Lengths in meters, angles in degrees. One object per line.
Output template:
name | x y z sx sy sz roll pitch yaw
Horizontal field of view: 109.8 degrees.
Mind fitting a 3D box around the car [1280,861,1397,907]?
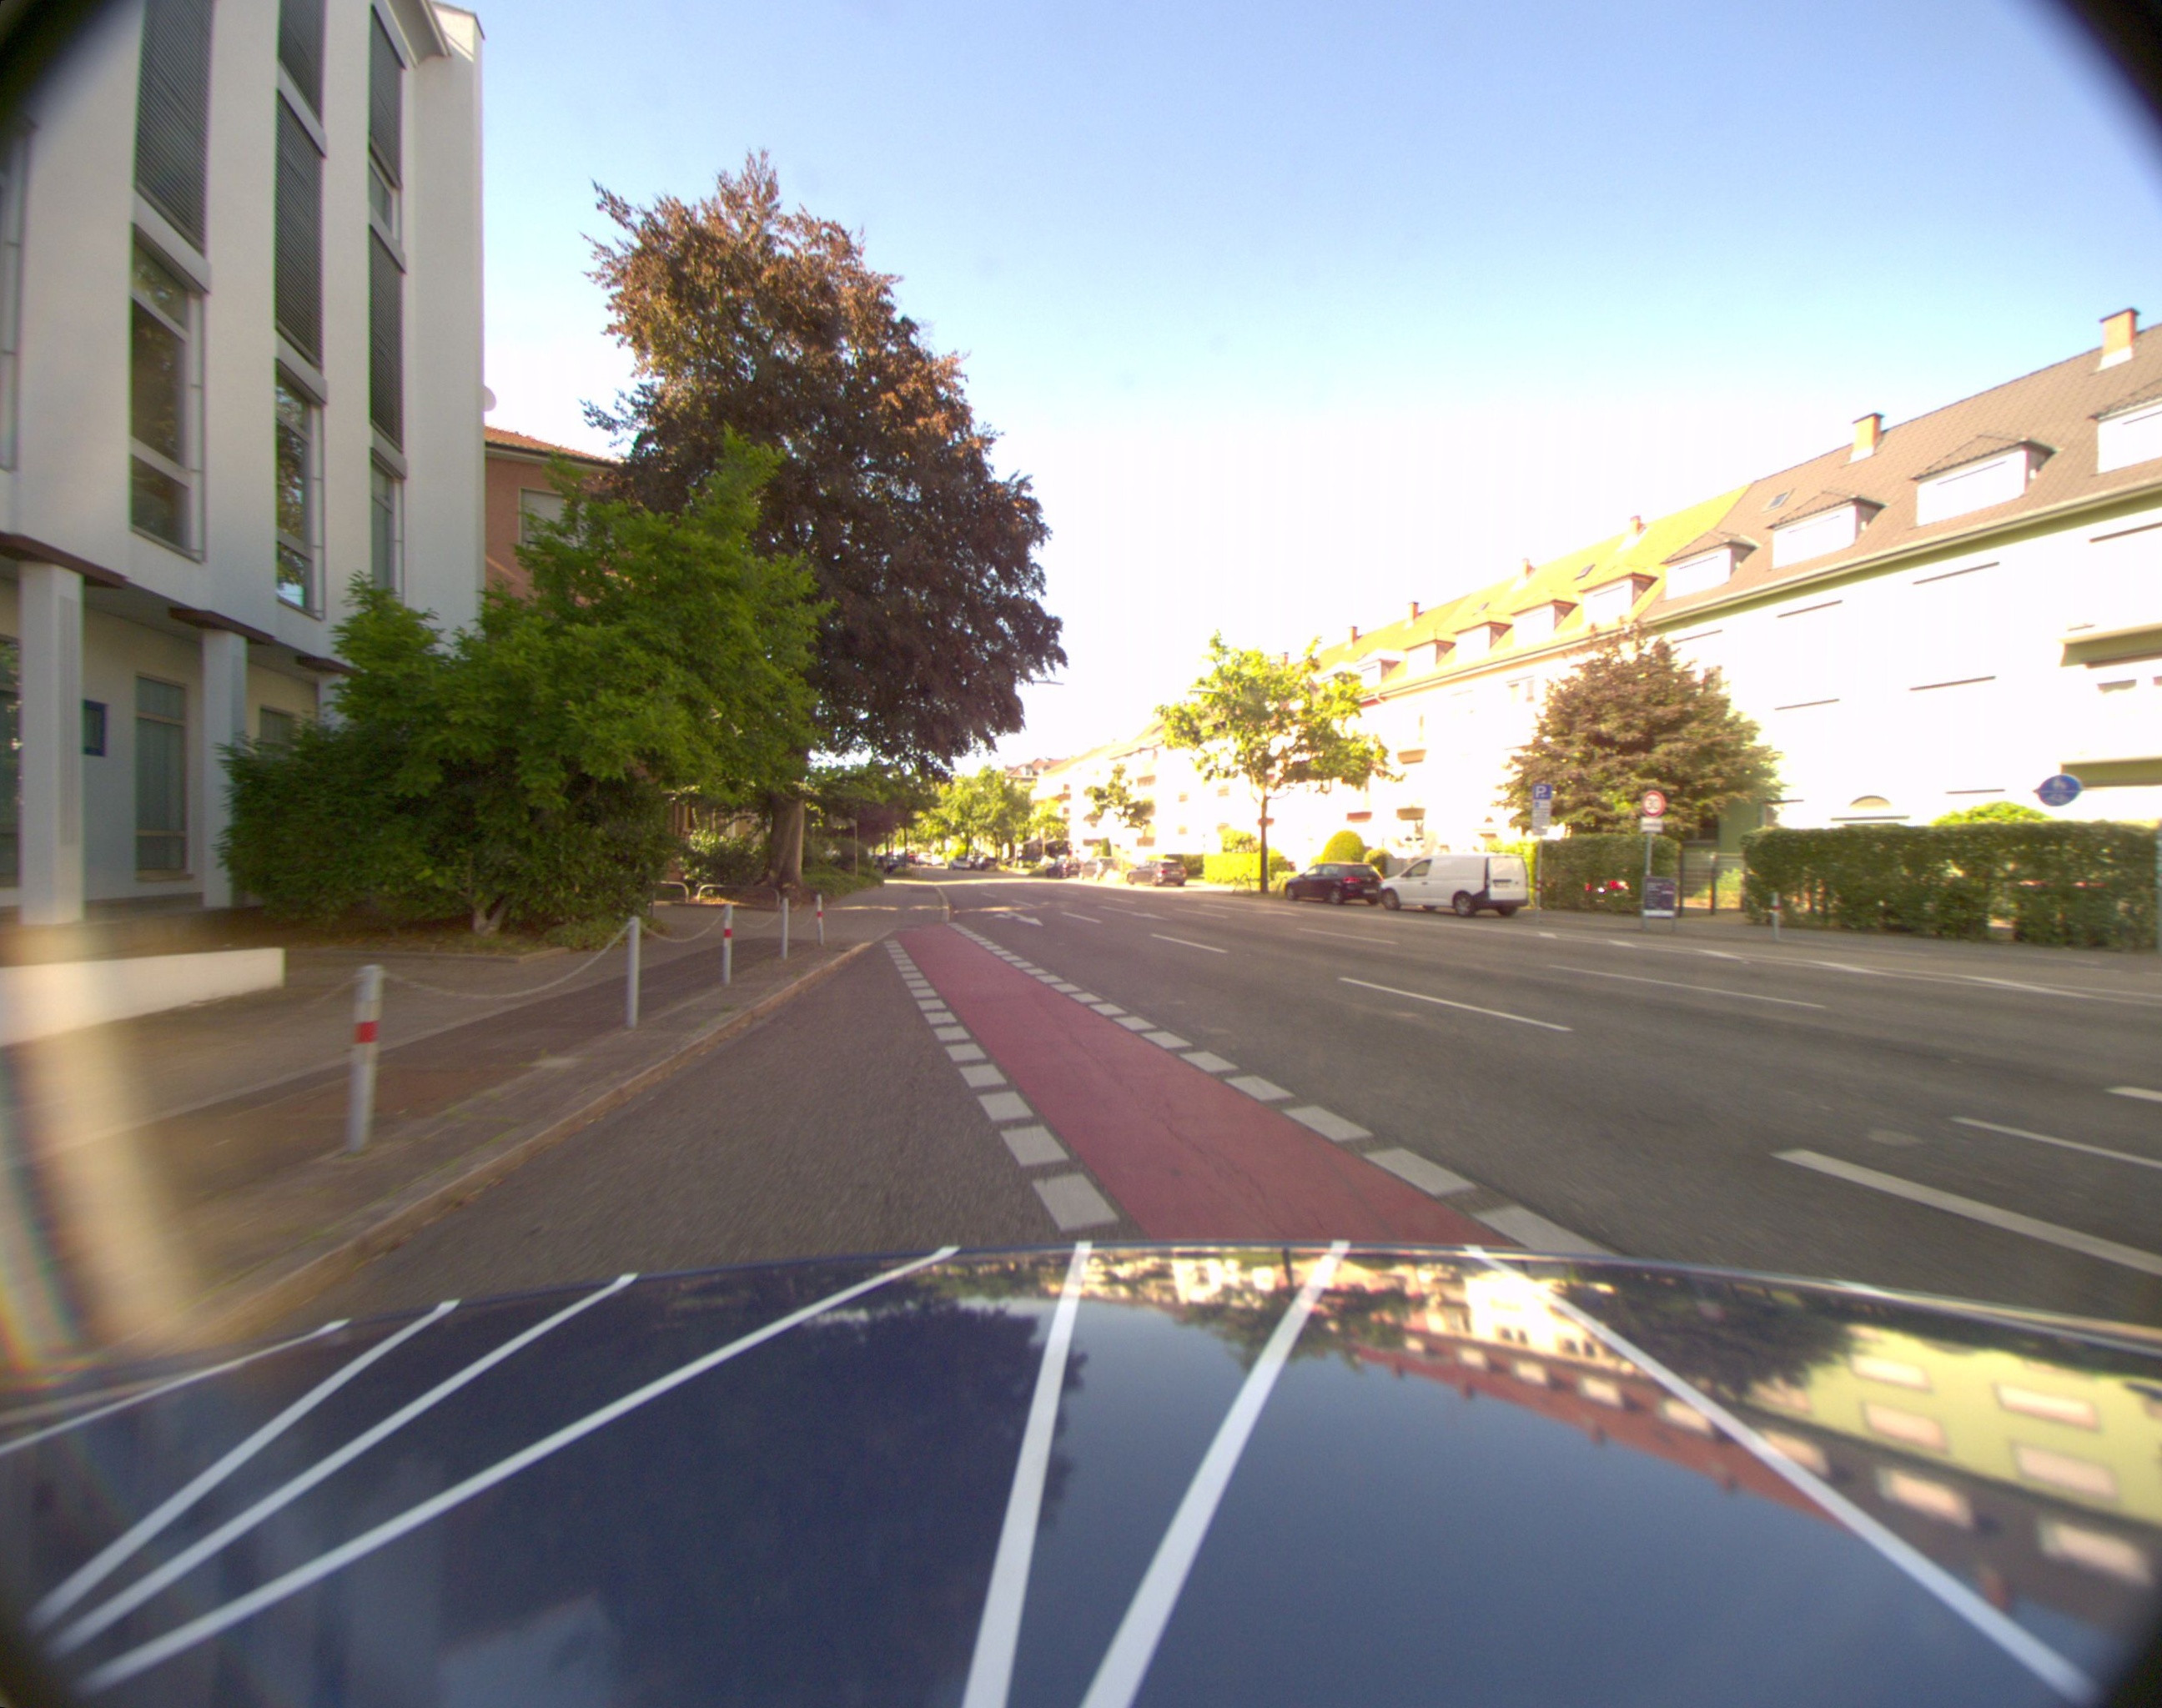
car | 9.099 1.001 27.188 1.807 1.421 4.043 -3 1 -20

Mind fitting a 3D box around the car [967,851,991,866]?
car | -11.320 0.517 84.291 1.807 1.552 3.917 -3 1 -20

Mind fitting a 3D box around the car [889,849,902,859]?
car | -33.364 -0.025 136.664 1.807 1.729 4.160 -3 1 -20

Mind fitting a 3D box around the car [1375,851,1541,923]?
car | 10.933 0.878 22.377 1.807 1.847 4.159 -3 1 -24

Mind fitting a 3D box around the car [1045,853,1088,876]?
car | -1.083 0.752 55.402 1.807 1.552 4.160 -3 1 -20

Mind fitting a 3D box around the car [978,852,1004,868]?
car | -9.414 0.629 78.928 1.807 1.552 3.917 -3 1 -20

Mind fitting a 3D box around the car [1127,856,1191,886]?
car | 4.129 0.878 40.782 1.807 1.449 3.998 -3 1 -20

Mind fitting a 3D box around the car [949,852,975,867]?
car | -12.287 0.551 78.260 1.807 1.552 4.159 0 0 -20

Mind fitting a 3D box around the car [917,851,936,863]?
car | -20.562 0.368 101.149 1.807 1.552 4.160 -3 1 -20

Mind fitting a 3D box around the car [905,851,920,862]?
car | -26.335 0.394 118.697 1.807 1.552 4.160 -3 1 -20

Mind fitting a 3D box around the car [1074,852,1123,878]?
car | 1.096 0.660 49.625 1.807 1.552 4.160 -3 1 -20
